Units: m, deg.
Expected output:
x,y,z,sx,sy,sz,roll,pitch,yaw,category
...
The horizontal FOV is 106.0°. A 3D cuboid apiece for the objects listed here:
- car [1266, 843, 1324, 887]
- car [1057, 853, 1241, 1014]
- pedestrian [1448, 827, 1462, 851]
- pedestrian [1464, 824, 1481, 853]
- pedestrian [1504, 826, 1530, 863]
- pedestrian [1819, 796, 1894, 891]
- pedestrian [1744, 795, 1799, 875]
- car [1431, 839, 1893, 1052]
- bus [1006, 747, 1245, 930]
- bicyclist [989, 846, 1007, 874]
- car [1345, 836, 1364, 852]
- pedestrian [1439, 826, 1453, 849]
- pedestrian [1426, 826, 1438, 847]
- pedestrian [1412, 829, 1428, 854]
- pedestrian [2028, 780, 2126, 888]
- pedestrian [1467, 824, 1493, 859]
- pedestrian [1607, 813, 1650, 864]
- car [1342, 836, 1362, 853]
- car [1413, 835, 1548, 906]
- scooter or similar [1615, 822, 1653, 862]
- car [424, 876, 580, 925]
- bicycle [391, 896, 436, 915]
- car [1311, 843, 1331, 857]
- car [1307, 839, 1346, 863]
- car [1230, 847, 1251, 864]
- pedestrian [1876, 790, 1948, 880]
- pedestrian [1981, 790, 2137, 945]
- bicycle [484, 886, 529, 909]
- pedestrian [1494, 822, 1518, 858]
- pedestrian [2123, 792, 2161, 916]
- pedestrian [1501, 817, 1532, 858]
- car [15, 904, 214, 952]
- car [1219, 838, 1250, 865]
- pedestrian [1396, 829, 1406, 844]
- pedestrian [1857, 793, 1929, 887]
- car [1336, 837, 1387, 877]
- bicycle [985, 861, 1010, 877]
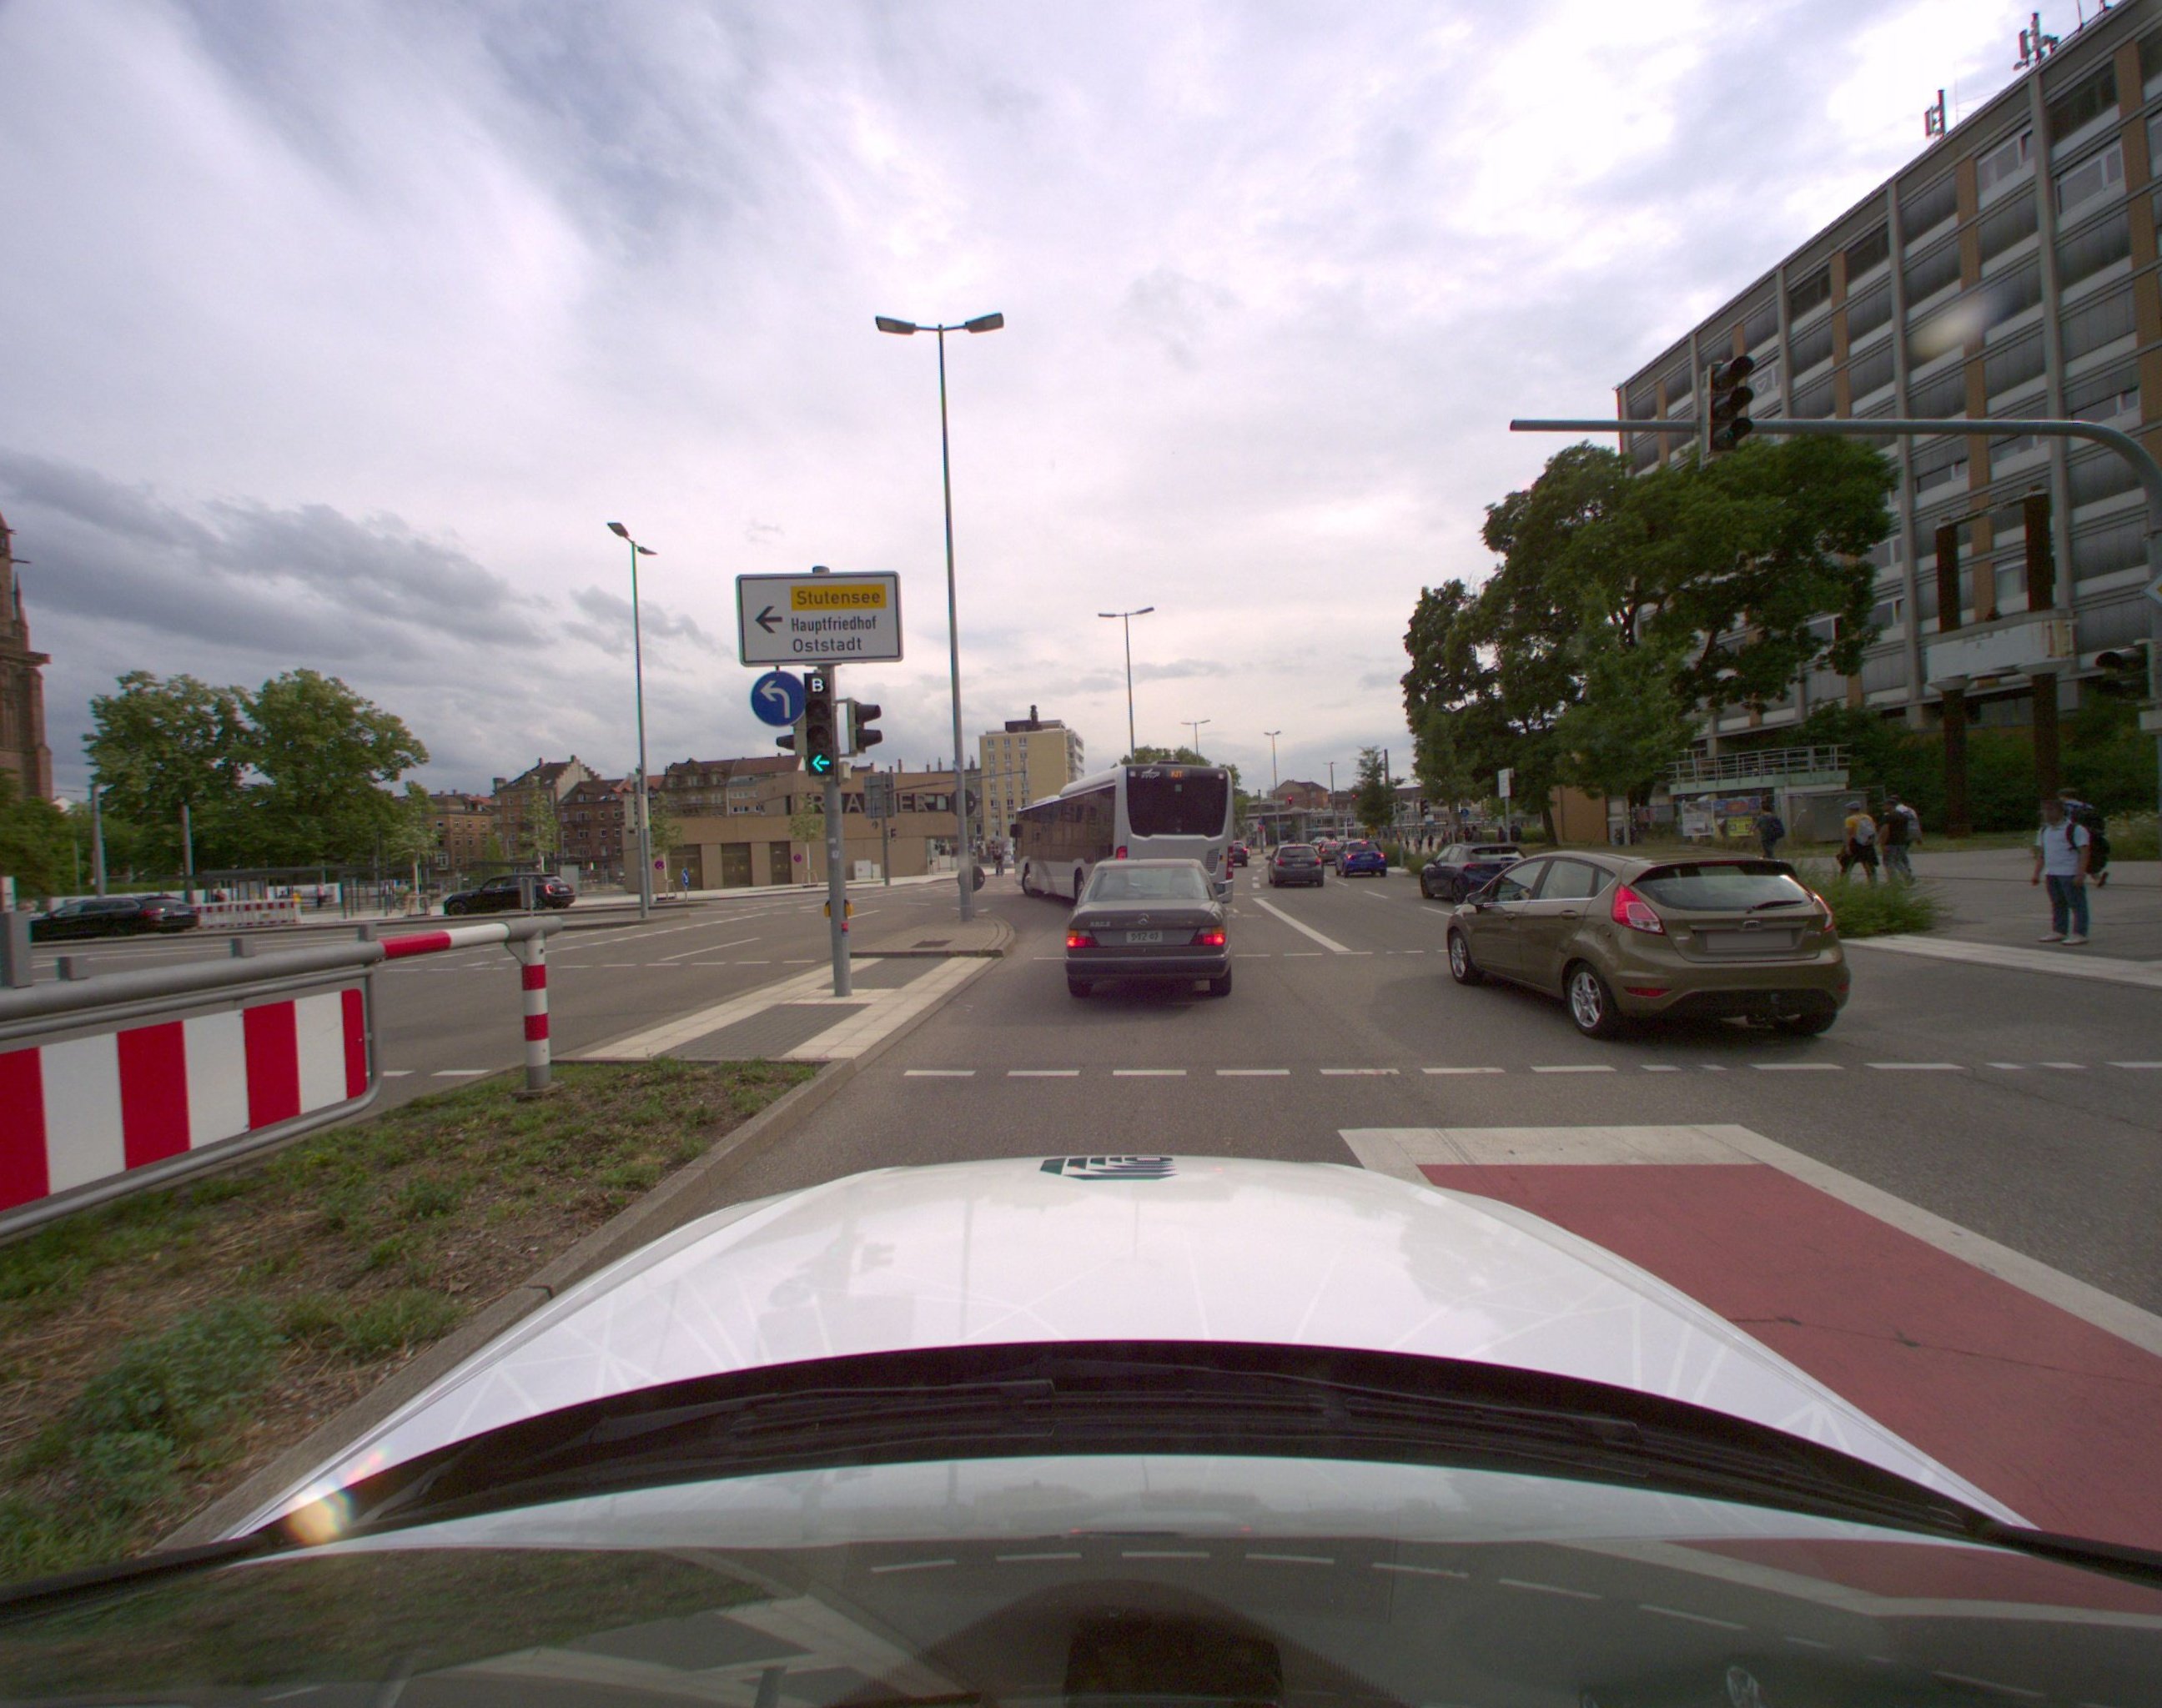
x,y,z,sx,sy,sz,roll,pitch,yaw,category
7.514,0.341,28.855,1.700,1.420,4.012,-1,0,11,car
0.832,0.750,9.854,1.687,1.480,4.422,-1,0,5,car
25.658,-1.023,55.834,0.771,1.574,0.817,-4,0,25,pedestrian
22.523,-0.889,46.856,0.771,1.574,0.817,-4,0,25,pedestrian
20.411,-0.438,38.108,0.775,1.711,0.813,-1,0,2,pedestrian
14.658,-0.190,15.406,0.635,1.711,0.709,-4,0,3,pedestrian
16.650,-0.456,19.651,0.635,1.852,0.709,-3,0,3,pedestrian
4.677,0.615,7.308,1.687,1.404,3.704,-1,0,4,car
0.296,-0.242,22.988,2.708,3.438,14.119,-4,0,-13,bus
-4.949,0.353,48.634,0.862,1.669,0.883,-1,0,9,bicyclist
27.134,-0.986,80.799,1.689,1.420,3.719,-1,0,19,car
25.920,-1.167,57.790,0.771,1.574,0.817,-4,0,25,pedestrian
27.808,-1.377,64.538,0.771,1.574,0.817,-4,0,25,pedestrian
21.601,-0.801,51.859,0.771,1.574,0.817,-4,0,25,pedestrian
16.671,-0.328,13.647,0.635,1.711,0.709,-5,0,3,pedestrian
19.549,-0.610,39.882,0.775,1.711,1.028,-1,0,3,pedestrian
17.777,-0.489,26.459,0.775,1.574,0.813,-4,0,2,pedestrian
24.735,-0.874,74.292,1.689,1.420,3.719,-1,0,19,car
9.356,0.356,19.387,1.658,1.508,3.639,-1,0,5,car
19.356,-0.425,28.537,0.398,1.370,1.144,-1,0,-10,scooter or similar
-20.501,1.621,29.005,3.983,1.486,1.995,-1,0,-7,car
-38.250,2.963,46.666,1.977,0.955,0.577,-1,0,-42,bicycle
24.582,-0.399,83.481,1.696,1.420,4.020,-1,0,19,car
15.318,-0.202,50.983,2.117,1.420,3.714,-1,0,14,car
13.972,0.084,71.166,1.699,1.420,4.013,-1,0,12,car
16.572,-0.371,16.253,0.635,1.711,0.709,-3,0,3,pedestrian
11.402,0.152,9.531,0.793,1.711,0.841,-1,0,5,pedestrian
-32.609,2.459,46.256,0.577,1.156,1.978,-1,0,43,bicycle
20.906,-0.690,40.070,0.775,1.711,0.813,-1,0,2,pedestrian
13.968,-0.023,10.131,0.833,1.542,0.800,-5,0,2,pedestrian
18.770,-0.714,35.107,0.775,1.711,1.028,-1,0,3,pedestrian
-33.185,2.530,28.073,4.250,1.361,1.998,-1,0,-3,car
9.793,-0.176,52.200,1.823,1.615,3.556,-1,0,9,car
33.826,-1.829,86.093,0.771,1.574,0.817,-4,0,25,pedestrian
15.331,-0.256,15.390,0.635,1.711,0.709,-1,0,3,pedestrian
11.708,0.100,34.111,1.843,1.532,4.021,-1,0,18,car
-4.949,0.863,48.505,0.857,0.876,2.525,-1,0,9,bicycle
